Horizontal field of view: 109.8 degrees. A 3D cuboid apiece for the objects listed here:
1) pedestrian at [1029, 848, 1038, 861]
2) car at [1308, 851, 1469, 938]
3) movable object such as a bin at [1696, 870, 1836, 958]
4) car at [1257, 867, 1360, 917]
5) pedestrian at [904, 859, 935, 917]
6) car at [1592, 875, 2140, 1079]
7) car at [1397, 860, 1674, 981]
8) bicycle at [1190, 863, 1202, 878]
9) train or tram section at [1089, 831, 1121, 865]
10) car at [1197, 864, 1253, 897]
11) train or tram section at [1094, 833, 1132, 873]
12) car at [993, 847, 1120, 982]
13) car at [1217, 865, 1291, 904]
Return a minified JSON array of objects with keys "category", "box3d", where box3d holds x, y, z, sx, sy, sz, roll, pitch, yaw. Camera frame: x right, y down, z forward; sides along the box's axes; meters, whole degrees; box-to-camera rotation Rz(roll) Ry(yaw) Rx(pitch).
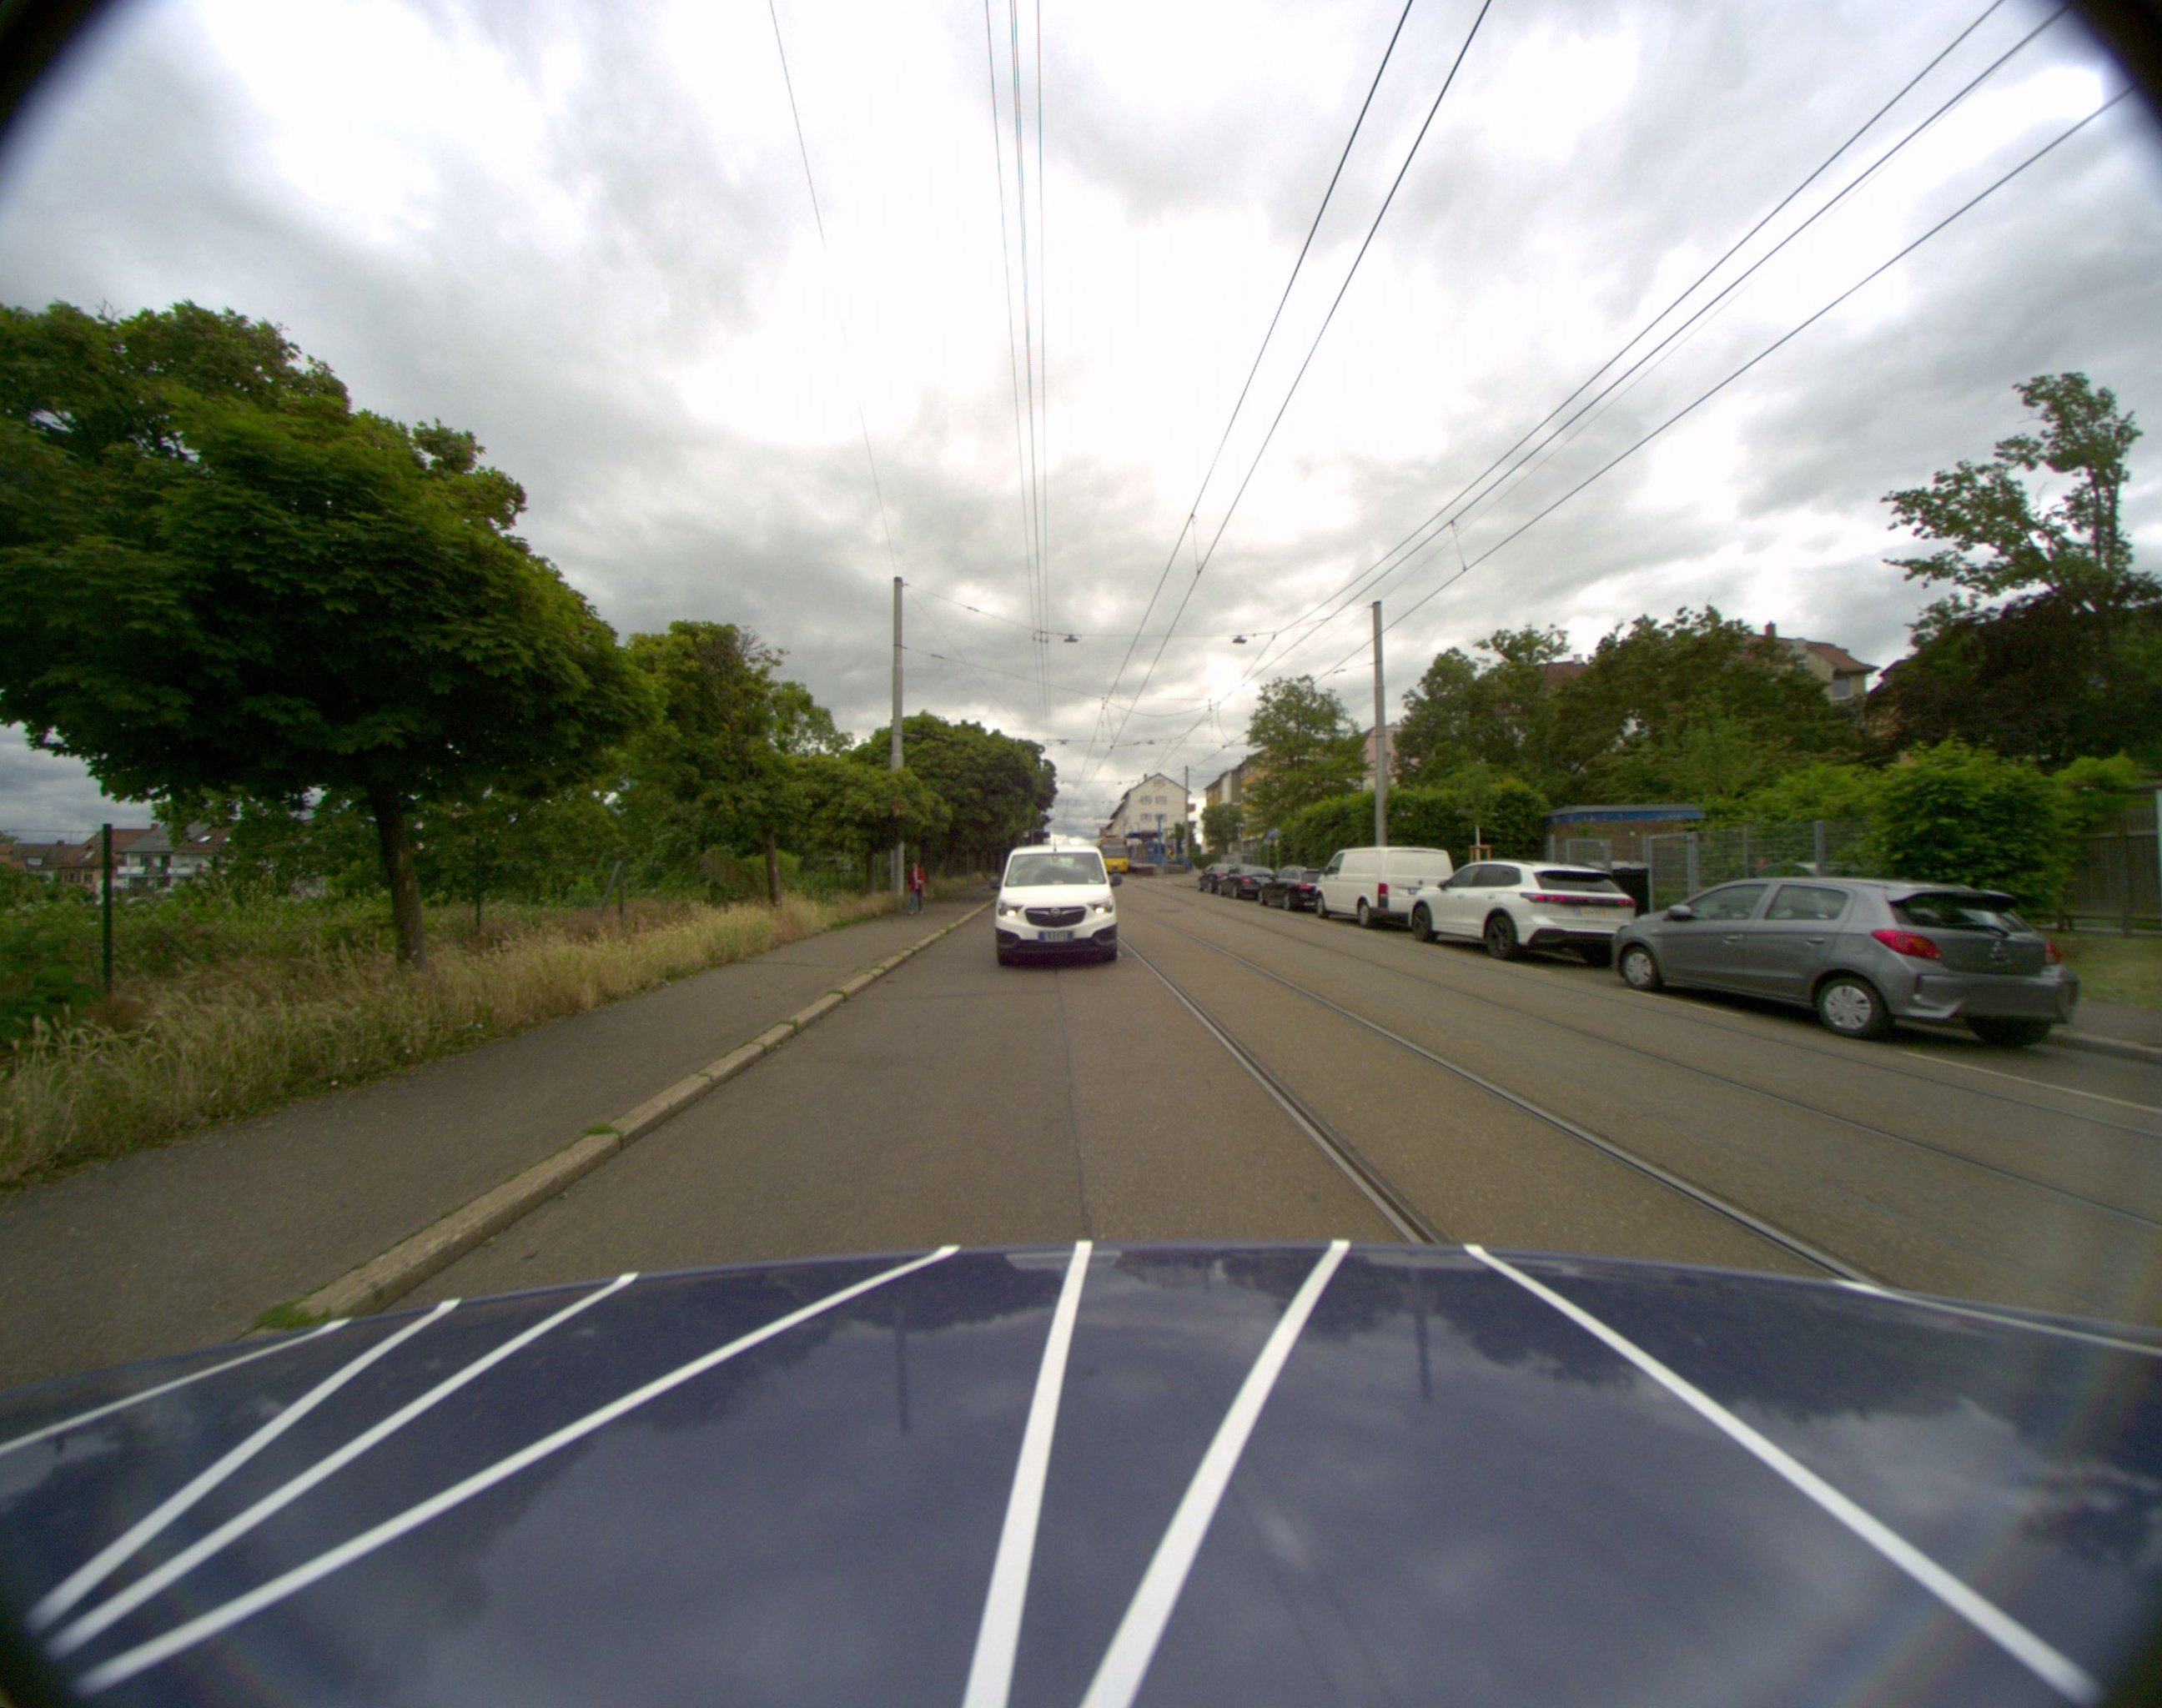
[{"category":"pedestrian","box3d":[-4.687,0.048,75.210,0.781,1.307,0.657,-1,1,-1]},{"category":"car","box3d":[7.547,0.901,19.278,1.974,1.902,4.733,0,1,-3]},{"category":"movable object such as a bin","box3d":[11.665,0.985,13.000,1.279,1.365,1.202,-2,0,0]},{"category":"car","box3d":[7.337,1.178,24.994,1.845,1.379,4.516,0,1,-3]},{"category":"pedestrian","box3d":[-4.614,0.957,21.772,0.716,1.611,0.718,-1,1,-1]},{"category":"car","box3d":[7.700,1.058,8.121,1.743,1.500,3.868,0,1,-3]},{"category":"car","box3d":[7.645,1.004,13.487,1.974,1.677,4.631,0,1,-3]},{"category":"bicycle","box3d":[9.367,1.339,62.071,0.713,1.174,1.488,0,1,-1]},{"category":"train or tram section","box3d":[2.594,-0.687,87.541,2.831,3.615,12.126,-1,0,-2]},{"category":"car","box3d":[6.938,1.249,37.012,1.795,1.396,4.160,0,1,-3]},{"category":"train or tram section","box3d":[3.012,-0.128,75.379,2.857,3.615,12.127,-1,0,-2]},{"category":"car","box3d":[-0.353,0.841,12.672,1.730,1.850,4.420,-1,0,0]},{"category":"car","box3d":[7.039,1.187,31.314,1.845,1.379,4.438,0,1,-3]}]
